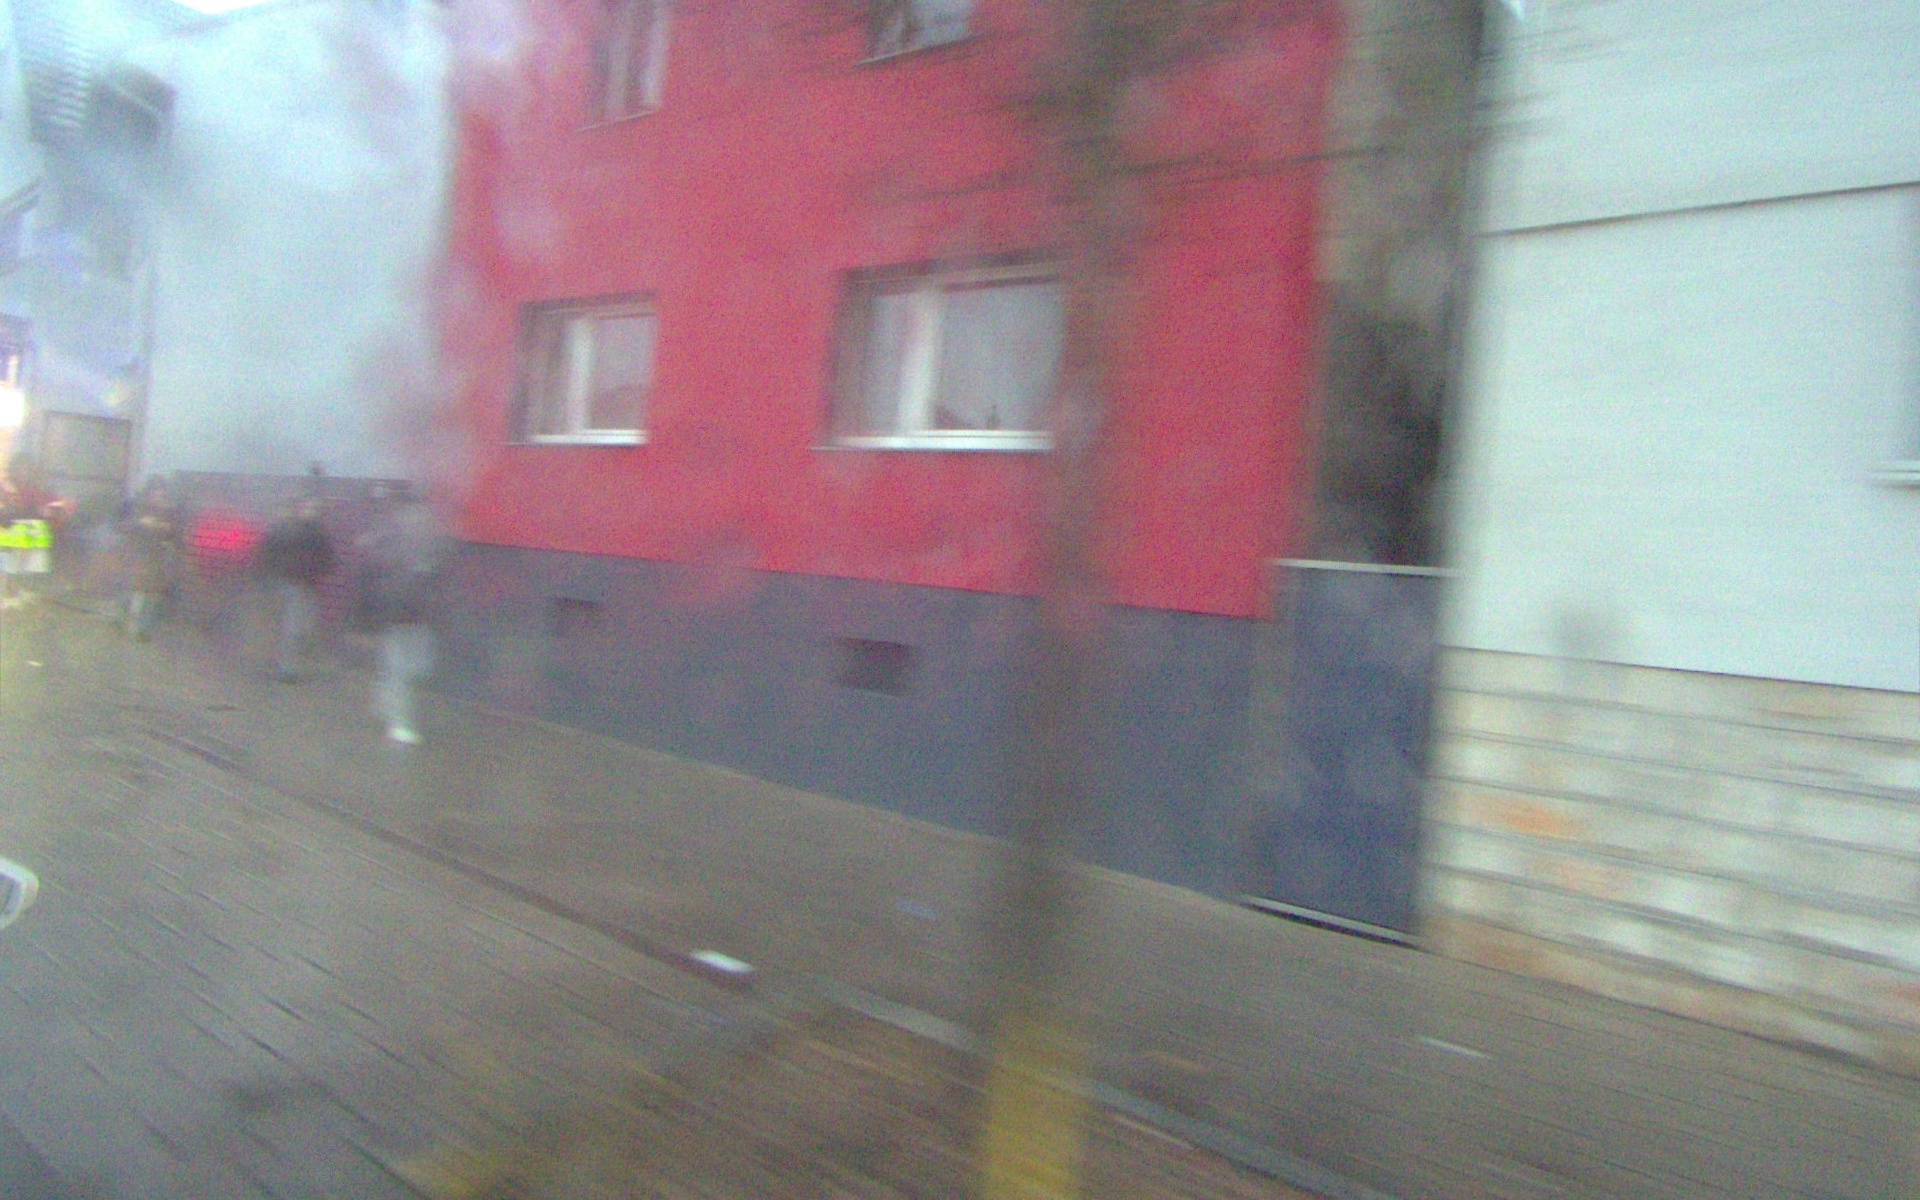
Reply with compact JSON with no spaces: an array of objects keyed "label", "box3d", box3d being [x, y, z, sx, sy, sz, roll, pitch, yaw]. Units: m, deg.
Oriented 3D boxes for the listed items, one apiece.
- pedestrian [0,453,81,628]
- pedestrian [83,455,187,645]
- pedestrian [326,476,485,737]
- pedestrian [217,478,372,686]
[{"label":"pedestrian","box3d":[-9.912,-0.638,10.694,0.710,1.737,1.021,5,2,-44]},{"label":"pedestrian","box3d":[-8.433,-0.511,10.276,0.852,1.822,0.528,7,0,42]},{"label":"pedestrian","box3d":[-3.833,0.051,6.938,0.941,1.671,0.528,4,-3,42]},{"label":"pedestrian","box3d":[-5.888,-0.160,8.892,1.036,1.701,0.746,8,2,38]}]
